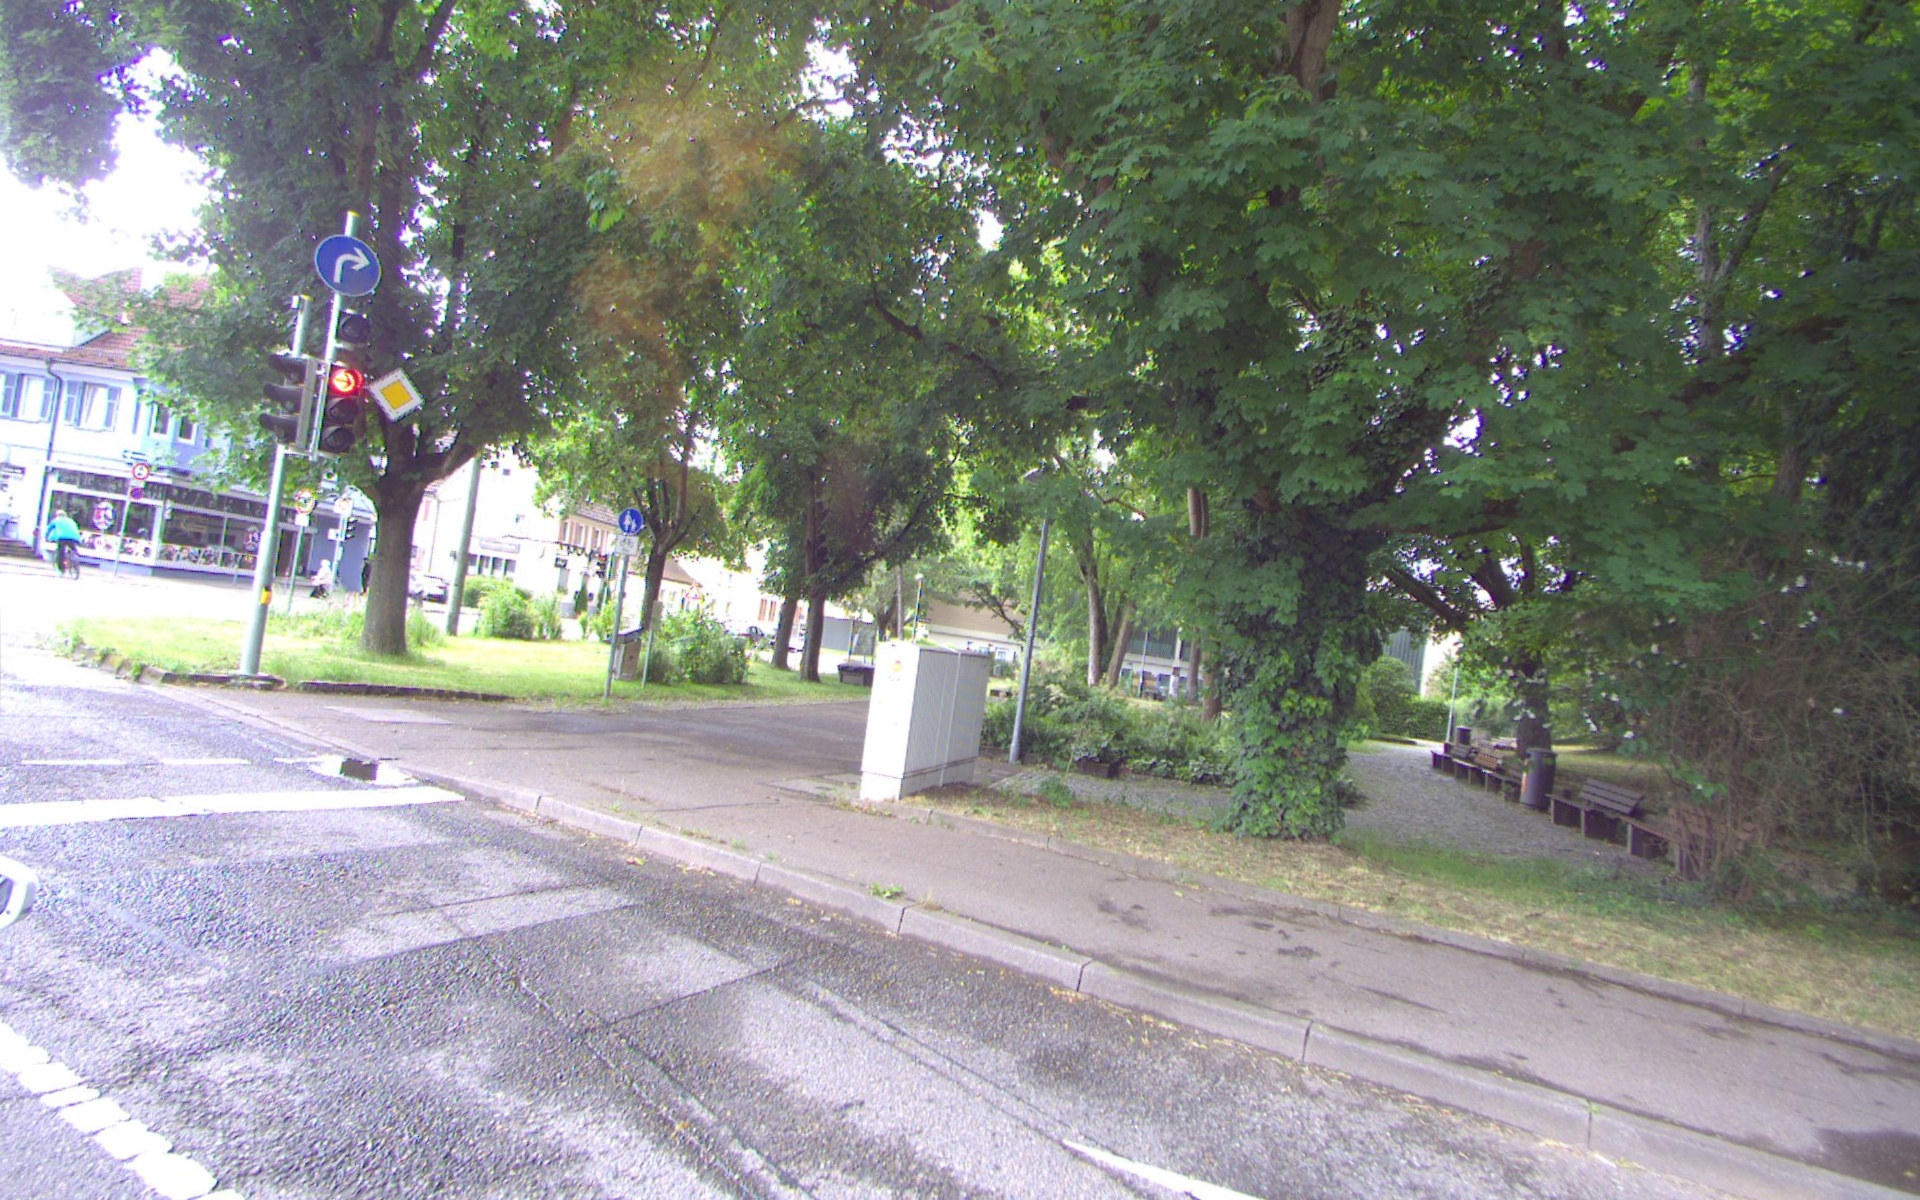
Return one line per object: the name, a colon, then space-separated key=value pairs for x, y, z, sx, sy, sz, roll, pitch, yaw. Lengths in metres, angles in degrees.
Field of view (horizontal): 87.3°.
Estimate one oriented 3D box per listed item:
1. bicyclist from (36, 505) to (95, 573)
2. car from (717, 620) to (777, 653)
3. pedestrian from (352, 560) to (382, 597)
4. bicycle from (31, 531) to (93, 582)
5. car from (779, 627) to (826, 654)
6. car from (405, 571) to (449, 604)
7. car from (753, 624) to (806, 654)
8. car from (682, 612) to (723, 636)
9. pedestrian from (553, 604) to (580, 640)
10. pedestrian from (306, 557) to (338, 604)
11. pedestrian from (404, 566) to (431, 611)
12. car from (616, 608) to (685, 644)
bicyclist: x=-24.043 y=-1.635 z=27.044 sx=0.975 sy=1.670 sz=0.914 roll=6 pitch=-2 yaw=42
car: x=-11.560 y=2.016 z=54.933 sx=1.618 sy=1.474 sz=3.740 roll=7 pitch=-2 yaw=13
pedestrian: x=-26.781 y=-0.971 z=45.426 sx=0.732 sy=1.578 sz=0.673 roll=6 pitch=-1 yaw=17
bicycle: x=-24.256 y=-1.185 z=27.161 sx=1.925 sy=1.162 sz=0.873 roll=6 pitch=-2 yaw=40
car: x=-10.271 y=2.656 z=66.037 sx=1.618 sy=1.474 sz=3.740 roll=7 pitch=-2 yaw=13
car: x=-28.172 y=-0.689 z=53.161 sx=1.870 sy=1.406 sz=3.589 roll=9 pitch=-2 yaw=-28
car: x=-10.697 y=2.339 z=59.906 sx=1.618 sy=1.474 sz=3.740 roll=7 pitch=-2 yaw=13
car: x=-19.031 y=1.809 z=74.445 sx=1.736 sy=1.463 sz=3.865 roll=7 pitch=-2 yaw=2
pedestrian: x=-13.005 y=0.733 z=33.241 sx=0.506 sy=1.093 sz=0.507 roll=6 pitch=-1 yaw=17
pedestrian: x=-22.888 y=-0.682 z=36.122 sx=0.725 sy=1.578 sz=0.763 roll=7 pitch=-1 yaw=-27
pedestrian: x=-20.408 y=-0.431 z=37.870 sx=0.688 sy=1.578 sz=0.662 roll=7 pitch=-1 yaw=-27
car: x=-13.478 y=1.169 z=44.017 sx=1.436 sy=1.282 sz=3.014 roll=7 pitch=-2 yaw=13
